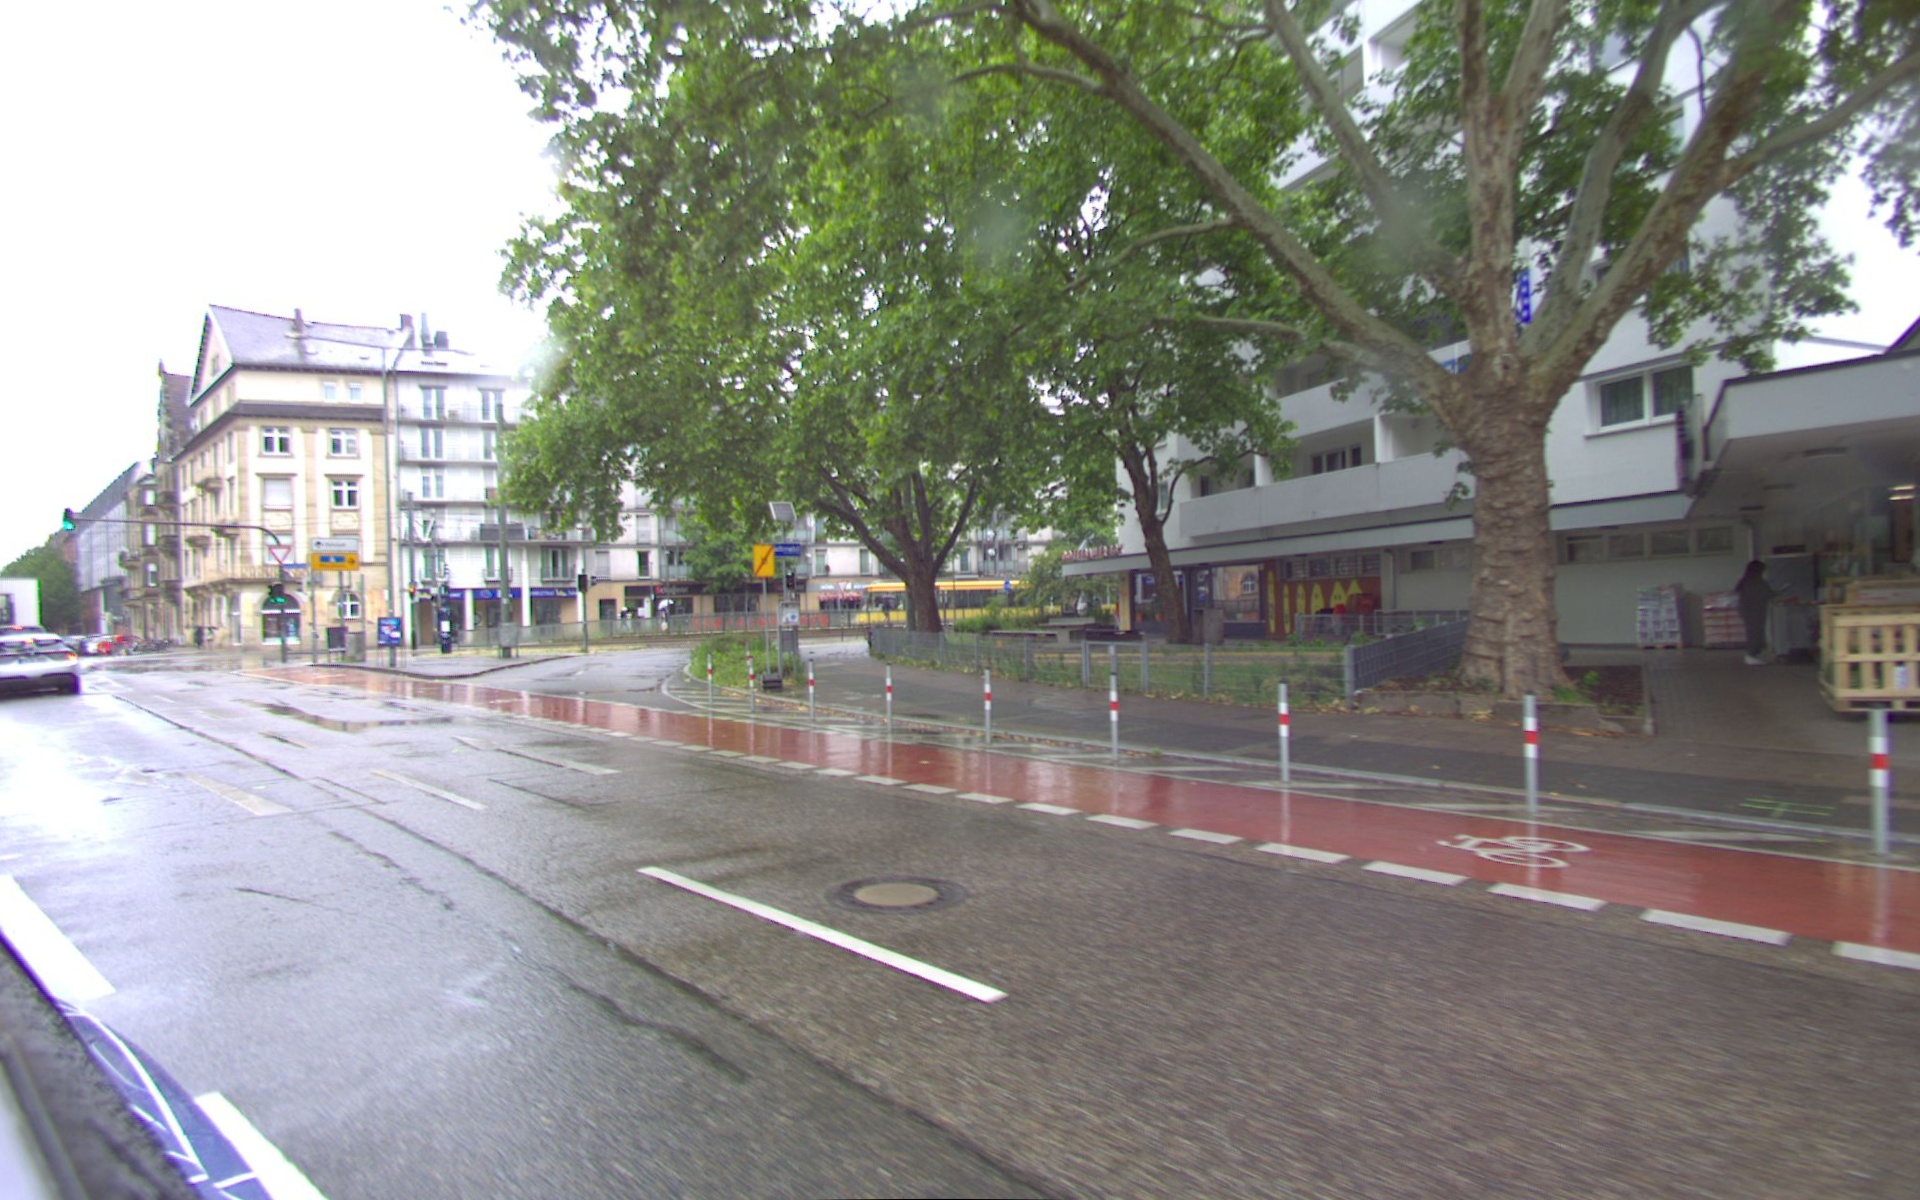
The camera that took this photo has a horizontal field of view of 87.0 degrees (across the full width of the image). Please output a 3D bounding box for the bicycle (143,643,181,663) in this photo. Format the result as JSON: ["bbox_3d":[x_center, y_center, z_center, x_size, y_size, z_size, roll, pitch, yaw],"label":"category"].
[{"bbox_3d":[-57.096,3.800,72.429,0.584,1.356,2.036,-3,-2,39],"label":"bicycle"}]

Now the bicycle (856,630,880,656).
[{"bbox_3d":[-3.547,1.657,39.121,0.630,0.875,2.315,-3,0,2],"label":"bicycle"}]

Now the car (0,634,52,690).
[{"bbox_3d":[-33.998,2.215,36.400,1.786,1.876,4.112,-1,-1,-45],"label":"car"}]

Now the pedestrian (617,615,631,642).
[{"bbox_3d":[-20.951,1.796,63.080,0.743,1.661,0.840,0,-2,-25],"label":"pedestrian"}]

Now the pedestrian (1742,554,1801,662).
[{"bbox_3d":[12.660,0.133,15.787,0.641,1.641,0.563,-2,-1,41],"label":"pedestrian"}]

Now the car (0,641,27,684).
[{"bbox_3d":[-38.033,2.449,39.877,1.722,1.616,4.002,-1,-1,-45],"label":"car"}]

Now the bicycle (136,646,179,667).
[{"bbox_3d":[-57.028,4.008,71.935,0.640,1.356,2.317,-3,-2,40],"label":"bicycle"}]

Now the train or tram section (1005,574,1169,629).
[{"bbox_3d":[9.097,0.086,72.137,11.377,3.530,3.082,-1,-1,-21],"label":"train or tram section"}]

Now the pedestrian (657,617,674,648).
[{"bbox_3d":[-16.200,1.779,55.580,0.803,1.661,0.796,0,-2,-22],"label":"pedestrian"}]

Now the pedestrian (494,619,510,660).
[{"bbox_3d":[-23.853,2.073,52.681,0.690,2.093,0.639,-1,-1,-26],"label":"pedestrian"}]

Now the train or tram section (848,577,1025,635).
[{"bbox_3d":[-1.530,0.364,68.021,11.377,3.530,3.082,-1,-1,-21],"label":"train or tram section"}]

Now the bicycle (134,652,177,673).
[{"bbox_3d":[-56.593,4.420,71.213,0.640,1.356,2.317,-3,-2,40],"label":"bicycle"}]

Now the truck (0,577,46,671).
[{"bbox_3d":[-44.769,1.208,46.852,10.316,4.056,2.814,-3,-2,43],"label":"truck"}]

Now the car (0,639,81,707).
[{"bbox_3d":[-23.451,1.793,25.329,4.056,1.521,1.825,-3,-1,44],"label":"car"}]

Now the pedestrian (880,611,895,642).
[{"bbox_3d":[-4.334,1.576,60.318,0.667,1.852,0.642,0,-2,-22],"label":"pedestrian"}]

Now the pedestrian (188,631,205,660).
[{"bbox_3d":[-53.959,3.193,71.486,0.906,1.980,0.702,-1,2,-36],"label":"pedestrian"}]

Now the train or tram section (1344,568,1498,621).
[{"bbox_3d":[33.751,-0.424,74.033,11.377,3.530,3.082,-1,-1,-21],"label":"train or tram section"}]
